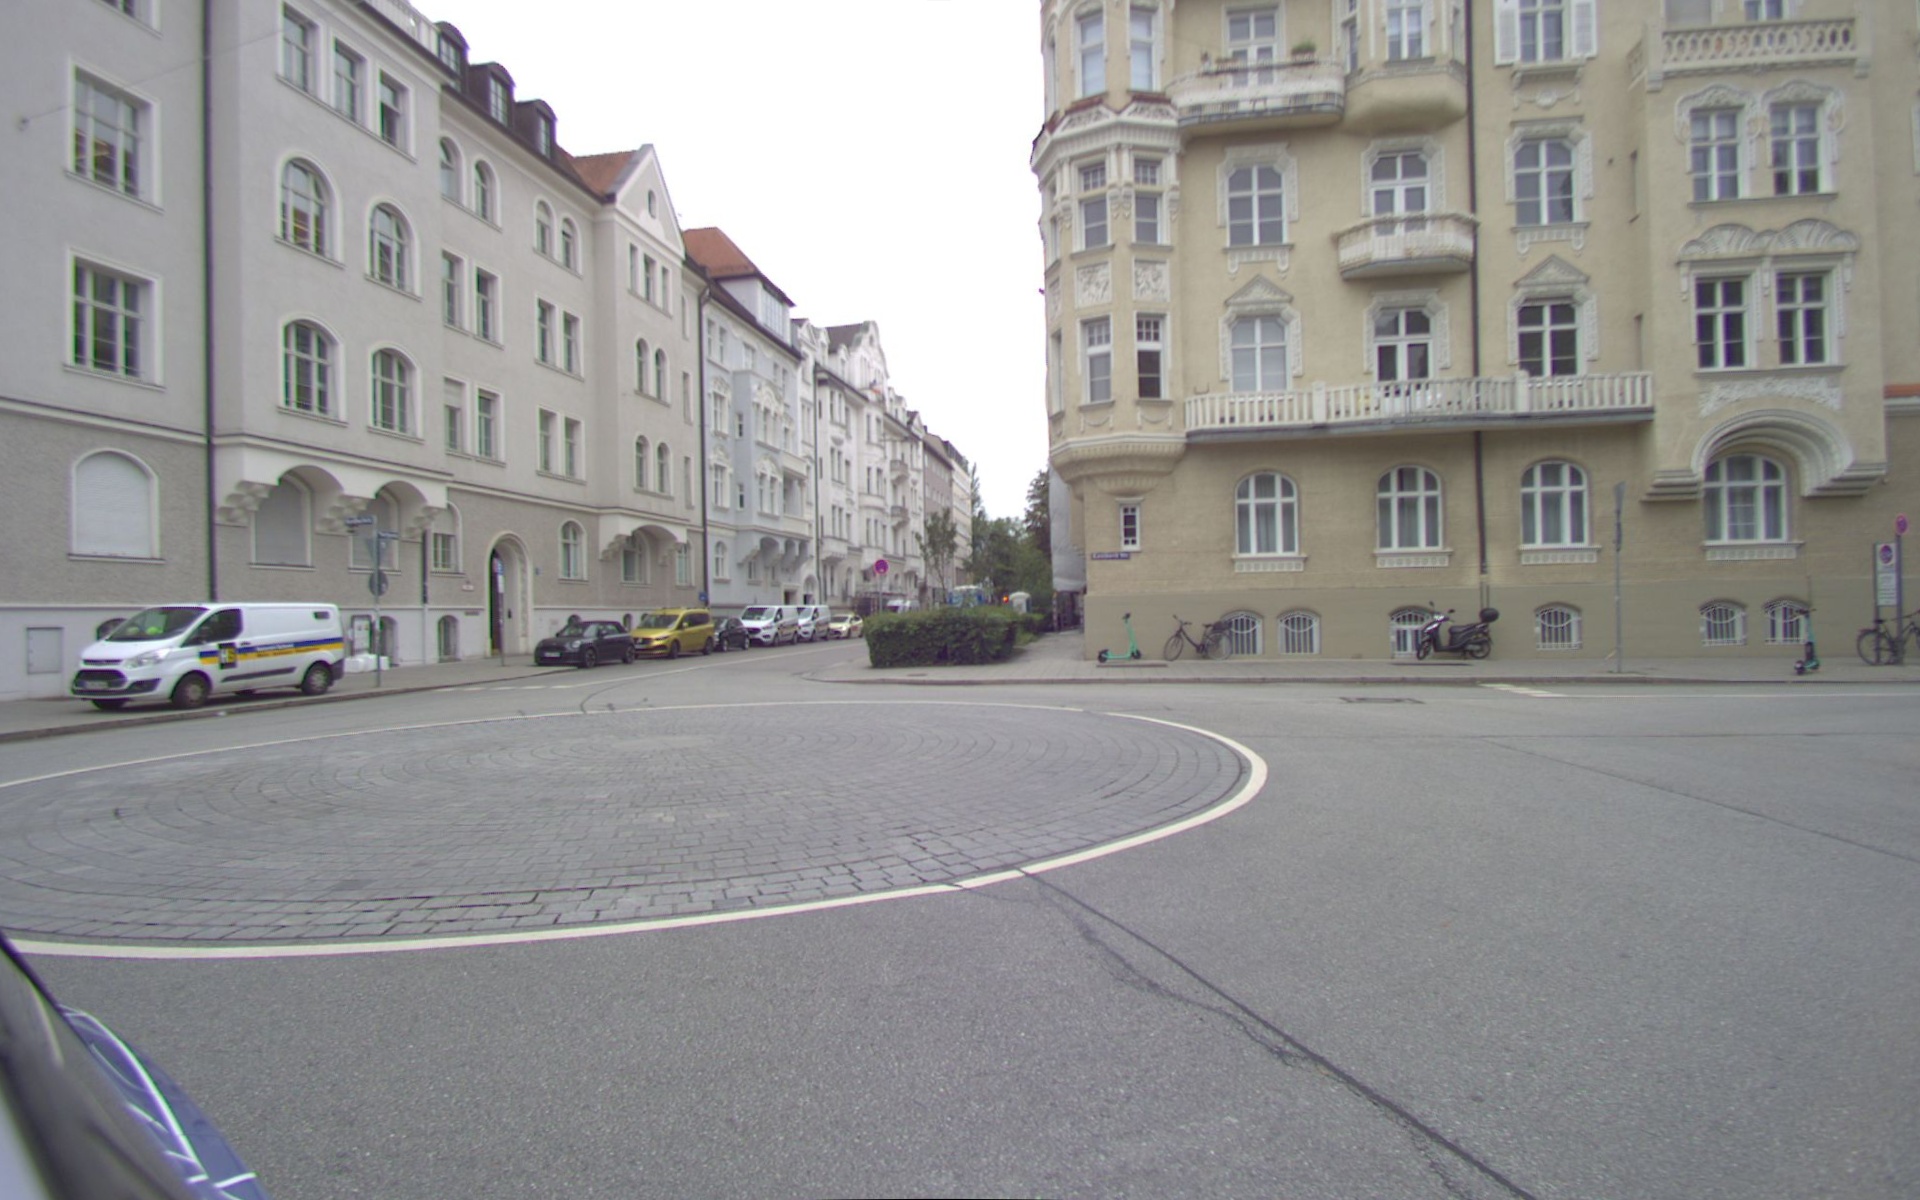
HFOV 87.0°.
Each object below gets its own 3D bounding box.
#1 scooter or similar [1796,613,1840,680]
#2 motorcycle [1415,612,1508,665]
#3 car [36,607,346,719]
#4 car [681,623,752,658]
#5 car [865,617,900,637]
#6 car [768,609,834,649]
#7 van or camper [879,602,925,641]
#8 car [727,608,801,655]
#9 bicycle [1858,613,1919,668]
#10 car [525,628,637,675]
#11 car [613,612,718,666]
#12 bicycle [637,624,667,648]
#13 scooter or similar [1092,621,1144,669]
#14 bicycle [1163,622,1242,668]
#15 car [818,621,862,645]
[{"bbox_3d":[16.256,0.868,19.169,1.197,1.202,0.468,-1,-1,-42],"label":"scooter or similar"},{"bbox_3d":[11.749,0.900,23.751,1.809,1.185,0.598,-2,-1,8],"label":"motorcycle"},{"bbox_3d":[-14.681,1.119,19.774,1.903,1.895,4.897,-1,-1,9],"label":"car"},{"bbox_3d":[-10.184,1.679,42.548,1.678,1.356,3.528,-1,-1,10],"label":"car"},{"bbox_3d":[-5.560,1.937,72.830,1.679,1.356,3.527,-1,-1,11],"label":"car"},{"bbox_3d":[-8.498,1.538,54.588,2.100,2.009,4.808,-1,-1,9],"label":"car"},{"bbox_3d":[-4.464,1.637,79.196,1.979,2.935,6.414,-1,0,11],"label":"van or camper"},{"bbox_3d":[-9.312,1.488,48.540,2.099,2.108,4.812,-1,-1,7],"label":"car"},{"bbox_3d":[19.264,0.796,20.297,1.809,1.057,0.563,-2,-1,8],"label":"bicycle"},{"bbox_3d":[-11.986,1.600,32.238,1.679,1.356,3.667,-1,-1,11],"label":"car"},{"bbox_3d":[-10.841,1.408,37.525,2.006,1.852,4.119,-1,-1,12],"label":"car"},{"bbox_3d":[-14.029,1.635,46.141,0.486,1.057,1.824,-2,-1,11],"label":"bicycle"},{"bbox_3d":[3.893,1.095,24.917,1.194,1.124,0.469,-1,-1,-24],"label":"scooter or similar"},{"bbox_3d":[5.929,1.101,24.834,1.809,1.057,0.563,-2,-1,8],"label":"bicycle"},{"bbox_3d":[-7.089,1.952,60.122,1.678,1.356,3.528,-1,-1,10],"label":"car"}]
